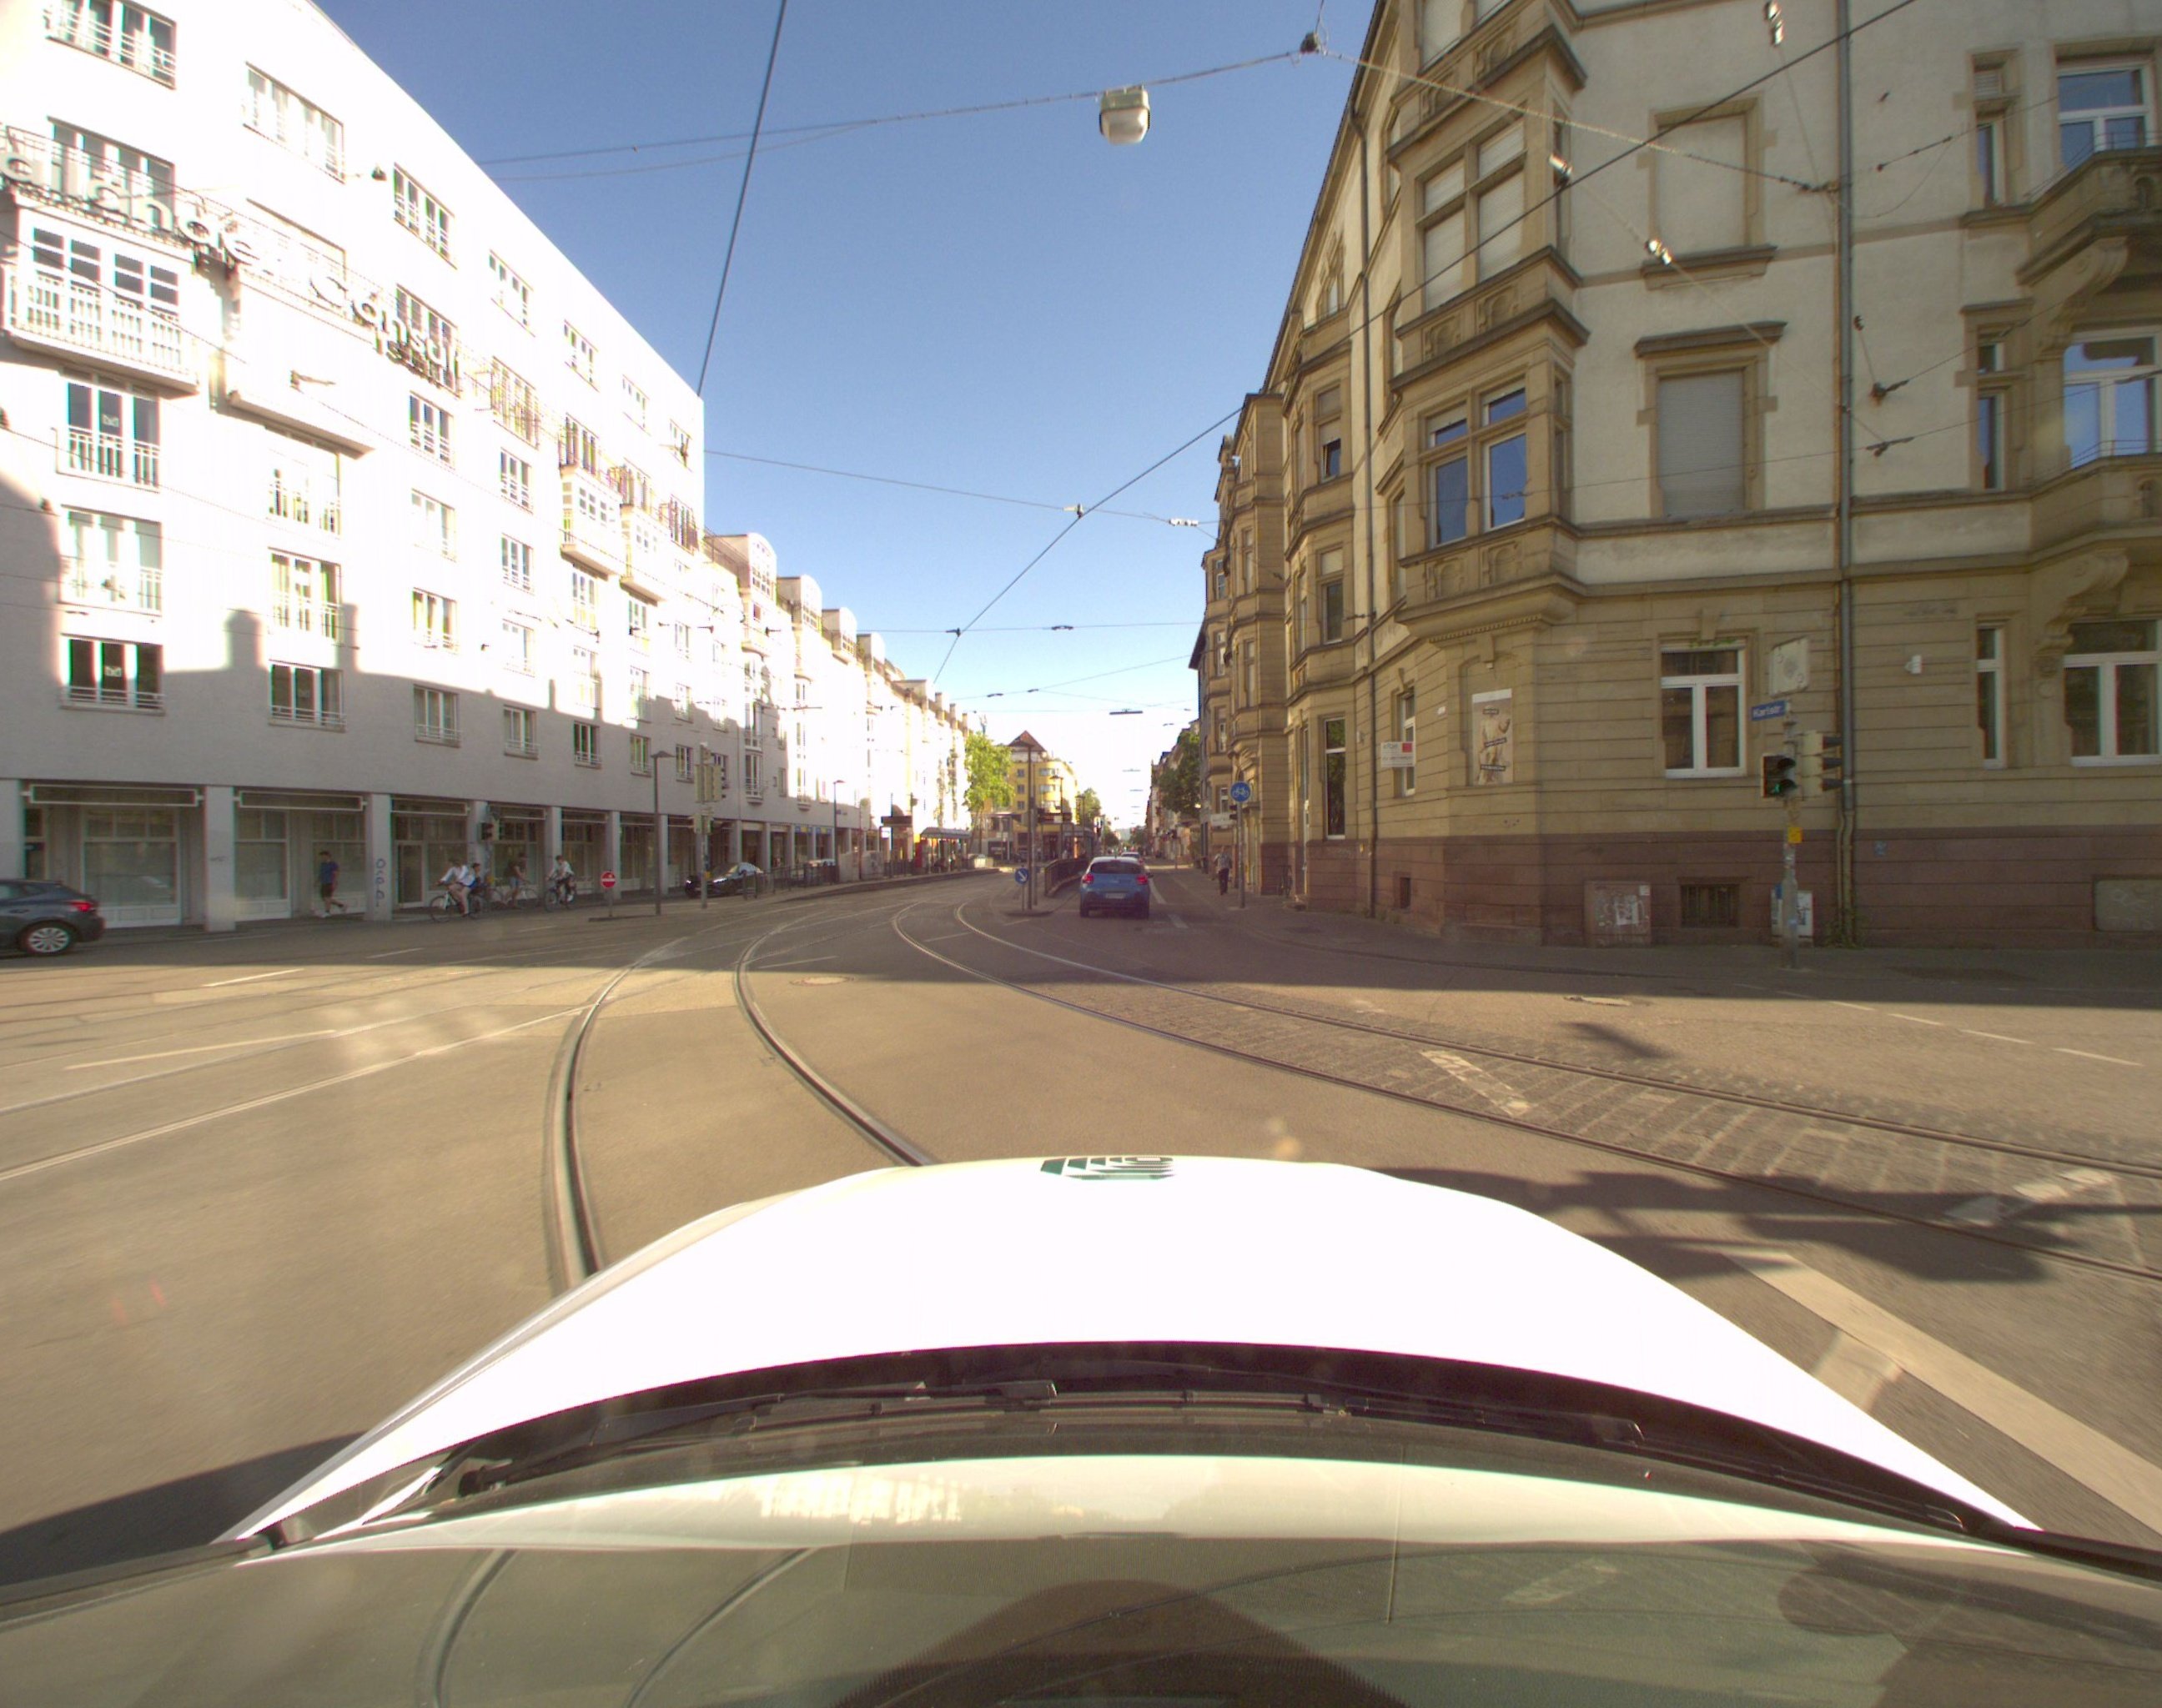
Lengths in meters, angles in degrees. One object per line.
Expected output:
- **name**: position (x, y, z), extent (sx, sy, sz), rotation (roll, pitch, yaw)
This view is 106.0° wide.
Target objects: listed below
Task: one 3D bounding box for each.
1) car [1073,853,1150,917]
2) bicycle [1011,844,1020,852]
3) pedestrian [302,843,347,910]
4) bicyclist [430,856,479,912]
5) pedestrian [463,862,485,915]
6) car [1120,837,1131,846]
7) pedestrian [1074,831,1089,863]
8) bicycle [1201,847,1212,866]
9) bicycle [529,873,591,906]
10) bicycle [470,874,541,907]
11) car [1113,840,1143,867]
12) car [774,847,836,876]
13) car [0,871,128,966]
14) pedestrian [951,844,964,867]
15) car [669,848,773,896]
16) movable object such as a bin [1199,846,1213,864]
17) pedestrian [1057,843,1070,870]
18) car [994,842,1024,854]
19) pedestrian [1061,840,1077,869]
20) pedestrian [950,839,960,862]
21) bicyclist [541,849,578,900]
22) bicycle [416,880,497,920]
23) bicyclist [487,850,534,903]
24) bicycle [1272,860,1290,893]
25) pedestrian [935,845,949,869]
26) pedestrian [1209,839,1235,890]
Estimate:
- **car**: position (0.839, 0.719, 20.909), extent (1.773, 1.450, 3.658), rotation (1, 1, 4)
- **bicycle**: position (-8.719, -0.818, 108.442), extent (0.676, 1.002, 2.690), rotation (-1, 1, 5)
- **pedestrian**: position (-21.090, 0.614, 22.717), extent (0.457, 1.832, 0.749), rotation (0, 2, 17)
- **bicyclist**: position (-17.021, 0.805, 22.152), extent (0.586, 1.488, 0.928), rotation (-1, -1, 1)
- **pedestrian**: position (-18.285, 1.018, 24.532), extent (0.444, 1.534, 0.676), rotation (-2, 2, -33)
- **car**: position (8.336, -2.346, 153.930), extent (1.985, 1.743, 4.004), rotation (1, 0, 4)
- **pedestrian**: position (0.024, -0.387, 44.300), extent (0.632, 1.698, 0.936), rotation (1, -1, 11)
- **bicycle**: position (7.439, 0.128, 48.401), extent (0.457, 1.123, 1.775), rotation (-2, 0, 4)
- **bicycle**: position (-16.609, 1.106, 26.018), extent (0.591, 0.972, 2.048), rotation (-1, 0, 2)
- **bicycle**: position (-18.754, 1.169, 26.581), extent (0.669, 0.980, 1.773), rotation (-1, 0, 31)
- **car**: position (3.308, -0.016, 56.893), extent (1.985, 1.743, 4.004), rotation (1, 0, 4)
- **car**: position (-15.108, 0.388, 44.817), extent (1.721, 1.514, 4.408), rotation (-1, 0, 3)
- **car**: position (-19.521, 1.136, 13.866), extent (1.974, 1.596, 4.025), rotation (-2, -1, 32)
- **pedestrian**: position (-8.542, 0.101, 56.495), extent (0.728, 1.559, 0.743), rotation (0, 1, 2)
- **car**: position (-15.335, 0.698, 34.991), extent (2.218, 1.911, 4.612), rotation (-1, 0, 3)
- **movable object such as a bin**: position (7.814, 0.060, 50.990), extent (0.745, 1.036, 0.754), rotation (-4, 0, 4)
- **pedestrian**: position (-1.071, 0.145, 48.718), extent (0.579, 1.562, 0.472), rotation (-1, 1, 39)
- **car**: position (-10.275, -0.886, 116.585), extent (3.974, 1.674, 1.958), rotation (-1, 1, 0)
- **pedestrian**: position (-0.719, 0.024, 49.228), extent (0.710, 1.777, 0.569), rotation (-1, 1, 39)
- **pedestrian**: position (-11.262, -0.308, 72.934), extent (0.666, 2.014, 0.709), rotation (1, -1, 5)
- **bicyclist**: position (-16.623, 0.644, 25.971), extent (0.586, 1.585, 0.896), rotation (-1, -1, 1)
- **bicycle**: position (-16.984, 1.228, 22.214), extent (0.591, 0.972, 2.013), rotation (-1, 0, 2)
- **bicyclist**: position (-18.688, 0.720, 26.672), extent (0.715, 1.695, 1.036), rotation (-1, 0, 31)
- **bicycle**: position (6.506, 0.707, 26.515), extent (0.254, 1.052, 1.771), rotation (1, 0, 4)
- **pedestrian**: position (-8.923, 0.179, 52.454), extent (0.728, 1.527, 0.743), rotation (0, 1, 2)
- **pedestrian**: position (5.057, 0.361, 29.288), extent (0.777, 1.749, 1.093), rotation (-1, 2, 1)
